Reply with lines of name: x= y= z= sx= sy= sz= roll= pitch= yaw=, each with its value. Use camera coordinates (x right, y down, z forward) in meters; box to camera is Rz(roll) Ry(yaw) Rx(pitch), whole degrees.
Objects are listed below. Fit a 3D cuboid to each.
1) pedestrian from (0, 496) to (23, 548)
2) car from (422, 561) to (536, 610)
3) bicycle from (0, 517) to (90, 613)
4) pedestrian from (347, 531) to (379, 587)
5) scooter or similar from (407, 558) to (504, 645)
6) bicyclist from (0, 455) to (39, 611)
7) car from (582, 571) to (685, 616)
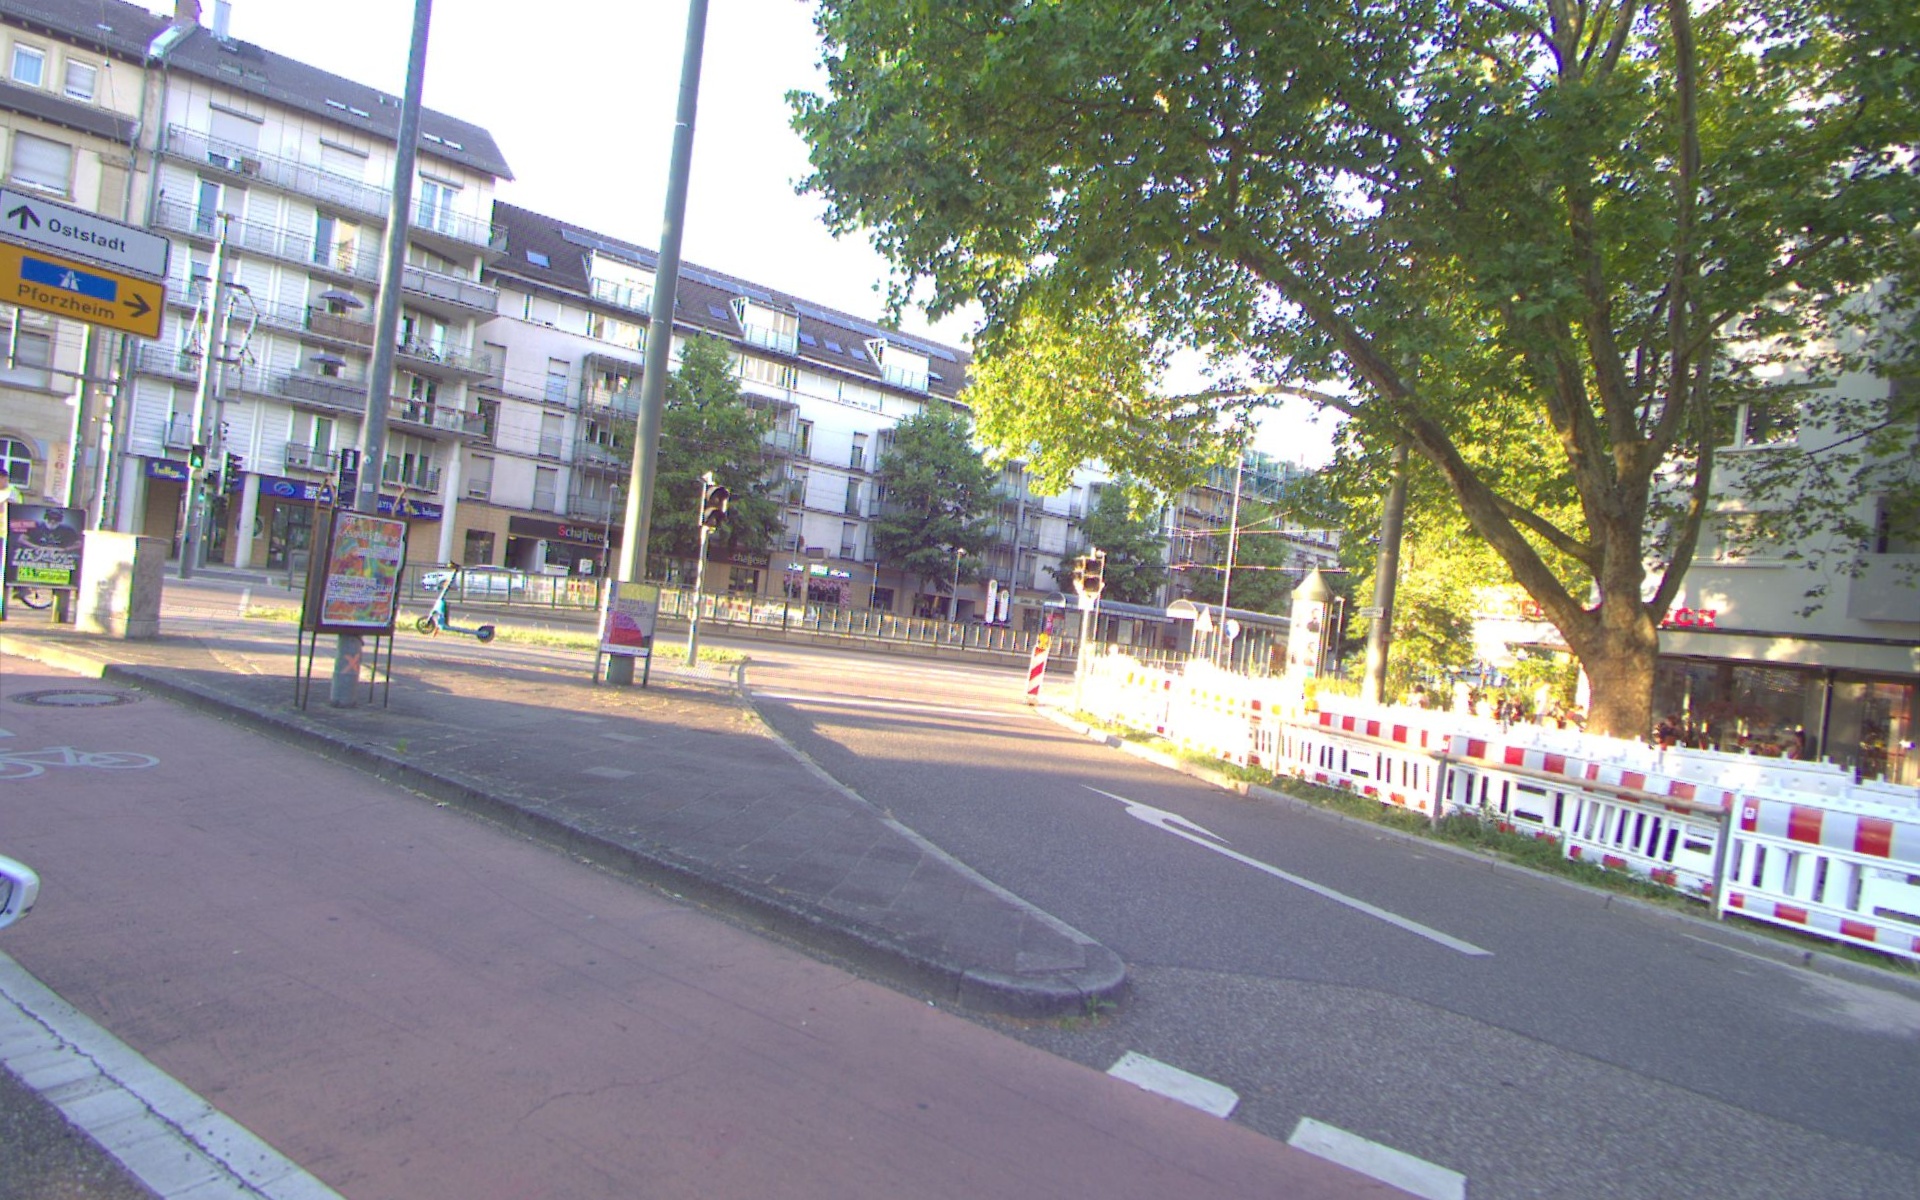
pedestrian: x=-34.196 y=-2.802 z=35.938 sx=0.782 sy=1.799 sz=0.539 roll=7 pitch=-1 yaw=-33
car: x=-20.043 y=-0.591 z=41.964 sx=3.964 sy=1.503 sz=1.833 roll=8 pitch=-2 yaw=-34
bicycle: x=-11.863 y=-0.465 z=12.246 sx=0.616 sy=1.122 sz=2.074 roll=7 pitch=-2 yaw=0
pedestrian: x=-25.230 y=-1.713 z=42.504 sx=0.864 sy=2.234 sz=0.812 roll=7 pitch=-1 yaw=-39
scooter or similar: x=-8.226 y=0.035 z=16.441 sx=1.217 sy=1.264 sz=0.513 roll=7 pitch=-1 yaw=-19
bicyclist: x=-11.820 y=-0.837 z=12.095 sx=0.616 sy=1.845 sz=0.699 roll=7 pitch=-1 yaw=-1
car: x=-14.839 y=-0.275 z=45.755 sx=3.970 sy=1.503 sz=1.830 roll=9 pitch=-3 yaw=-39
